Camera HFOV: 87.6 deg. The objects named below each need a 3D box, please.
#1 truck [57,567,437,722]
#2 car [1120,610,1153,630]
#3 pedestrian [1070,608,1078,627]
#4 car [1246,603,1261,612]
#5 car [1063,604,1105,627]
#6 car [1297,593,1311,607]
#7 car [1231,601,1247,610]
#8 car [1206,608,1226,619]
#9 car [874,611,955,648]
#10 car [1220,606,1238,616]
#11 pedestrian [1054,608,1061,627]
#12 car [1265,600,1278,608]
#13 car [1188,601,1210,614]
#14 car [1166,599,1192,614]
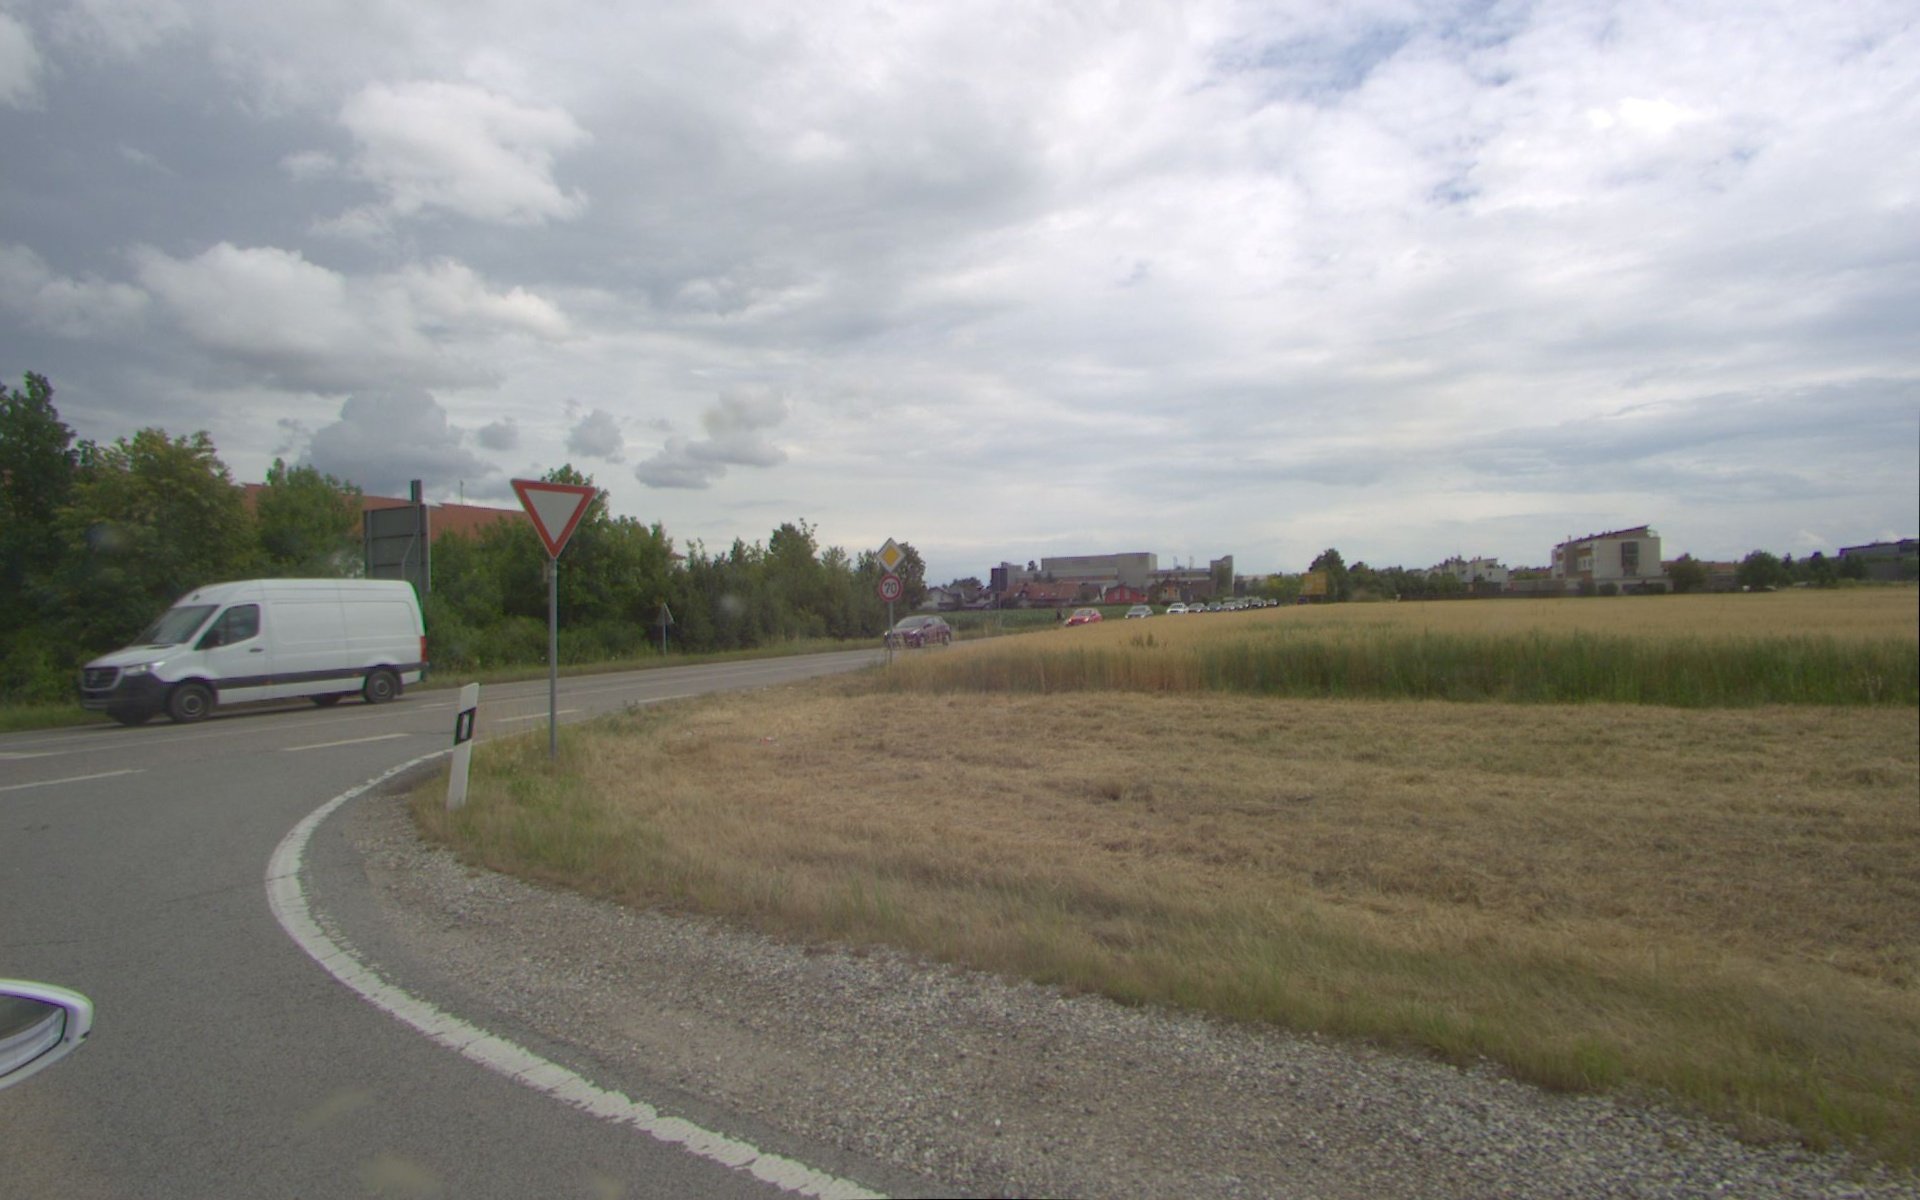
[{"bbox_3d":[-13.784,0.797,19.995,1.967,2.609,5.999,-2,-1,23],"label":"truck"},{"bbox_3d":[14.654,1.644,82.931,1.825,1.486,3.987,-1,0,24],"label":"car"},{"bbox_3d":[10.100,1.562,88.669,0.521,1.705,0.626,0,2,19],"label":"pedestrian"},{"bbox_3d":[46.616,1.198,158.924,1.825,1.287,3.520,-1,0,23],"label":"car"},{"bbox_3d":[8.793,1.058,70.820,1.825,1.486,3.987,-1,0,24],"label":"car"},{"bbox_3d":[70.413,-0.026,204.934,2.114,2.675,5.551,0,1,24],"label":"car"},{"bbox_3d":[39.462,0.779,141.554,1.825,1.287,3.520,-1,0,23],"label":"car"},{"bbox_3d":[31.420,1.618,122.934,1.825,1.287,3.520,-1,0,23],"label":"car"},{"bbox_3d":[-2.000,1.304,45.586,1.968,1.483,4.146,-2,0,25],"label":"car"},{"bbox_3d":[35.758,1.433,133.202,1.825,1.287,3.520,-1,0,23],"label":"car"},{"bbox_3d":[8.674,1.563,89.274,0.521,1.705,0.626,0,2,19],"label":"pedestrian"},{"bbox_3d":[55.671,0.694,178.906,1.825,1.287,3.520,-1,0,23],"label":"car"},{"bbox_3d":[26.641,0.826,111.754,1.825,1.287,3.520,-1,0,23],"label":"car"},{"bbox_3d":[22.010,0.641,100.667,1.825,1.486,3.988,-1,0,23],"label":"car"}]
